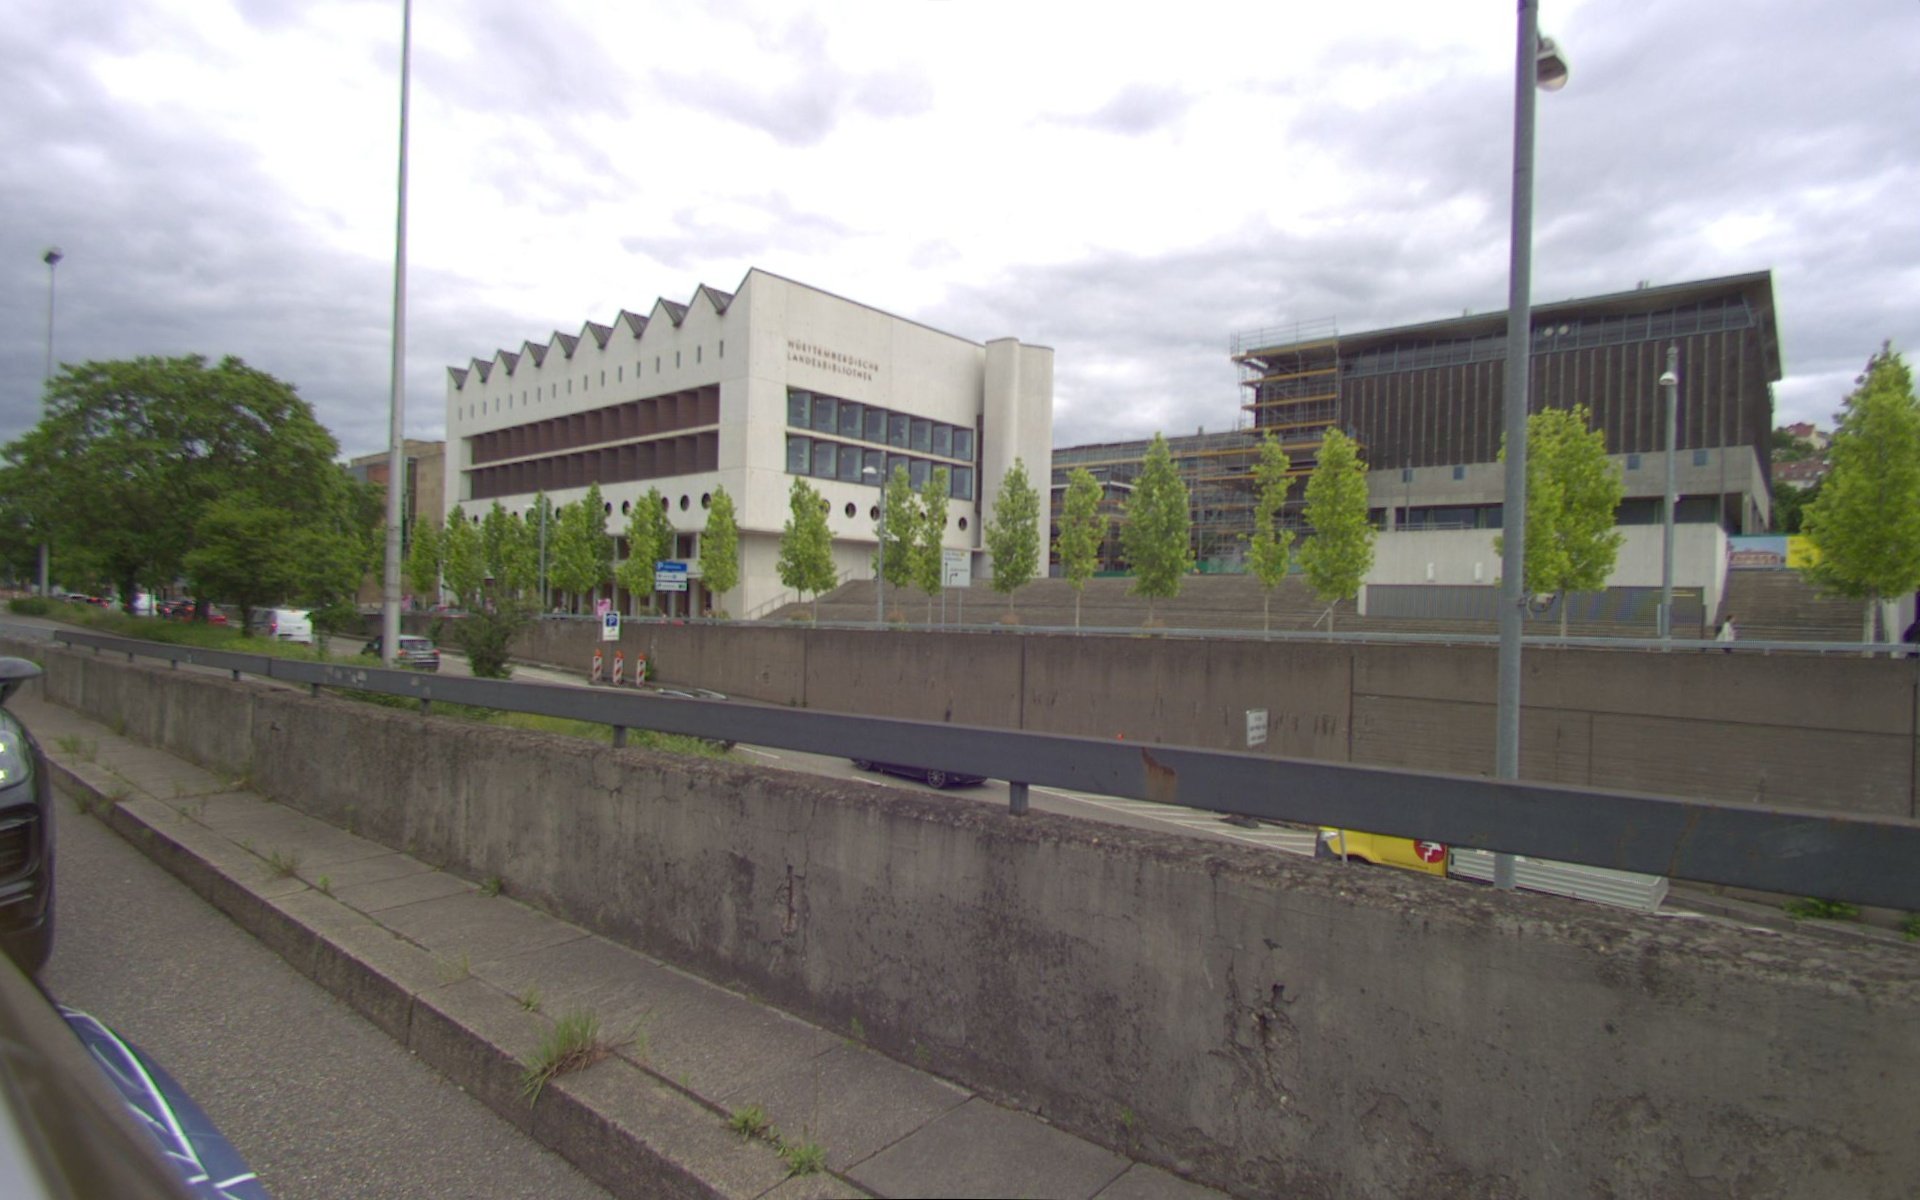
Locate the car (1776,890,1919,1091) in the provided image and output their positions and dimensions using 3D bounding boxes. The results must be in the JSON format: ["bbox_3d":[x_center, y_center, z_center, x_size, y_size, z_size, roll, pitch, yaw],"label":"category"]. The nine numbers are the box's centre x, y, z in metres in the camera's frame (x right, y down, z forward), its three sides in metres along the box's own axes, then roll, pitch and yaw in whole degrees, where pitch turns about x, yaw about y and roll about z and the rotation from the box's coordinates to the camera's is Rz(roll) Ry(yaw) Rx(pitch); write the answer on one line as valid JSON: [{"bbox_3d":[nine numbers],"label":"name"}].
[{"bbox_3d":[11.937,4.693,11.438,4.167,1.582,1.792,1,2,41],"label":"car"}]

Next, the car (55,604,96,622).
[{"bbox_3d":[-74.130,1.079,84.832,3.998,1.409,1.973,0,-4,41],"label":"car"}]

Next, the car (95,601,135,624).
[{"bbox_3d":[-72.406,1.047,86.687,3.998,1.776,1.973,0,-3,41],"label":"car"}]

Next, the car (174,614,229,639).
[{"bbox_3d":[-46.416,1.595,61.888,3.999,1.497,1.972,-1,-2,42],"label":"car"}]

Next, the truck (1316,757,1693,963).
[{"bbox_3d":[9.246,4.233,17.502,5.375,2.419,2.160,-2,-2,40],"label":"truck"}]

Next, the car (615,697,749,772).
[{"bbox_3d":[-7.915,3.745,28.665,3.903,1.553,1.696,1,2,39],"label":"car"}]

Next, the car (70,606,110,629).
[{"bbox_3d":[-69.495,1.392,80.851,4.144,1.500,1.757,3,0,40],"label":"car"}]

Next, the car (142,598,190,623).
[{"bbox_3d":[-61.147,0.774,77.921,4.385,1.624,1.852,4,0,38],"label":"car"}]

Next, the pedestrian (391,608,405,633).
[{"bbox_3d":[-48.304,1.751,86.986,1.016,2.029,0.712,1,1,42],"label":"pedestrian"}]

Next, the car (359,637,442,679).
[{"bbox_3d":[-23.599,2.398,42.638,3.999,1.560,1.855,0,-1,42],"label":"car"}]

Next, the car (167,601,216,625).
[{"bbox_3d":[-55.152,0.923,72.607,4.141,1.500,1.758,3,0,38],"label":"car"}]

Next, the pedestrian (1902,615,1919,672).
[{"bbox_3d":[28.273,1.264,29.754,0.793,1.655,0.730,-3,-3,44],"label":"pedestrian"}]

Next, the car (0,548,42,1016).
[{"bbox_3d":[-5.569,0.617,4.489,4.733,1.602,1.879,0,0,44],"label":"car"}]

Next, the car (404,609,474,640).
[{"bbox_3d":[-32.126,1.506,62.356,4.732,1.869,2.152,-1,-2,40],"label":"car"}]

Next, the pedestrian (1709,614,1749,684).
[{"bbox_3d":[22.796,1.443,30.013,0.793,2.029,0.730,-3,-3,45],"label":"pedestrian"}]

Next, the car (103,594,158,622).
[{"bbox_3d":[-58.762,0.546,71.689,5.247,1.651,1.973,2,-5,41],"label":"car"}]

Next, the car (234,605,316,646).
[{"bbox_3d":[-35.601,1.305,52.559,5.112,2.029,2.196,-1,-2,40],"label":"car"}]
